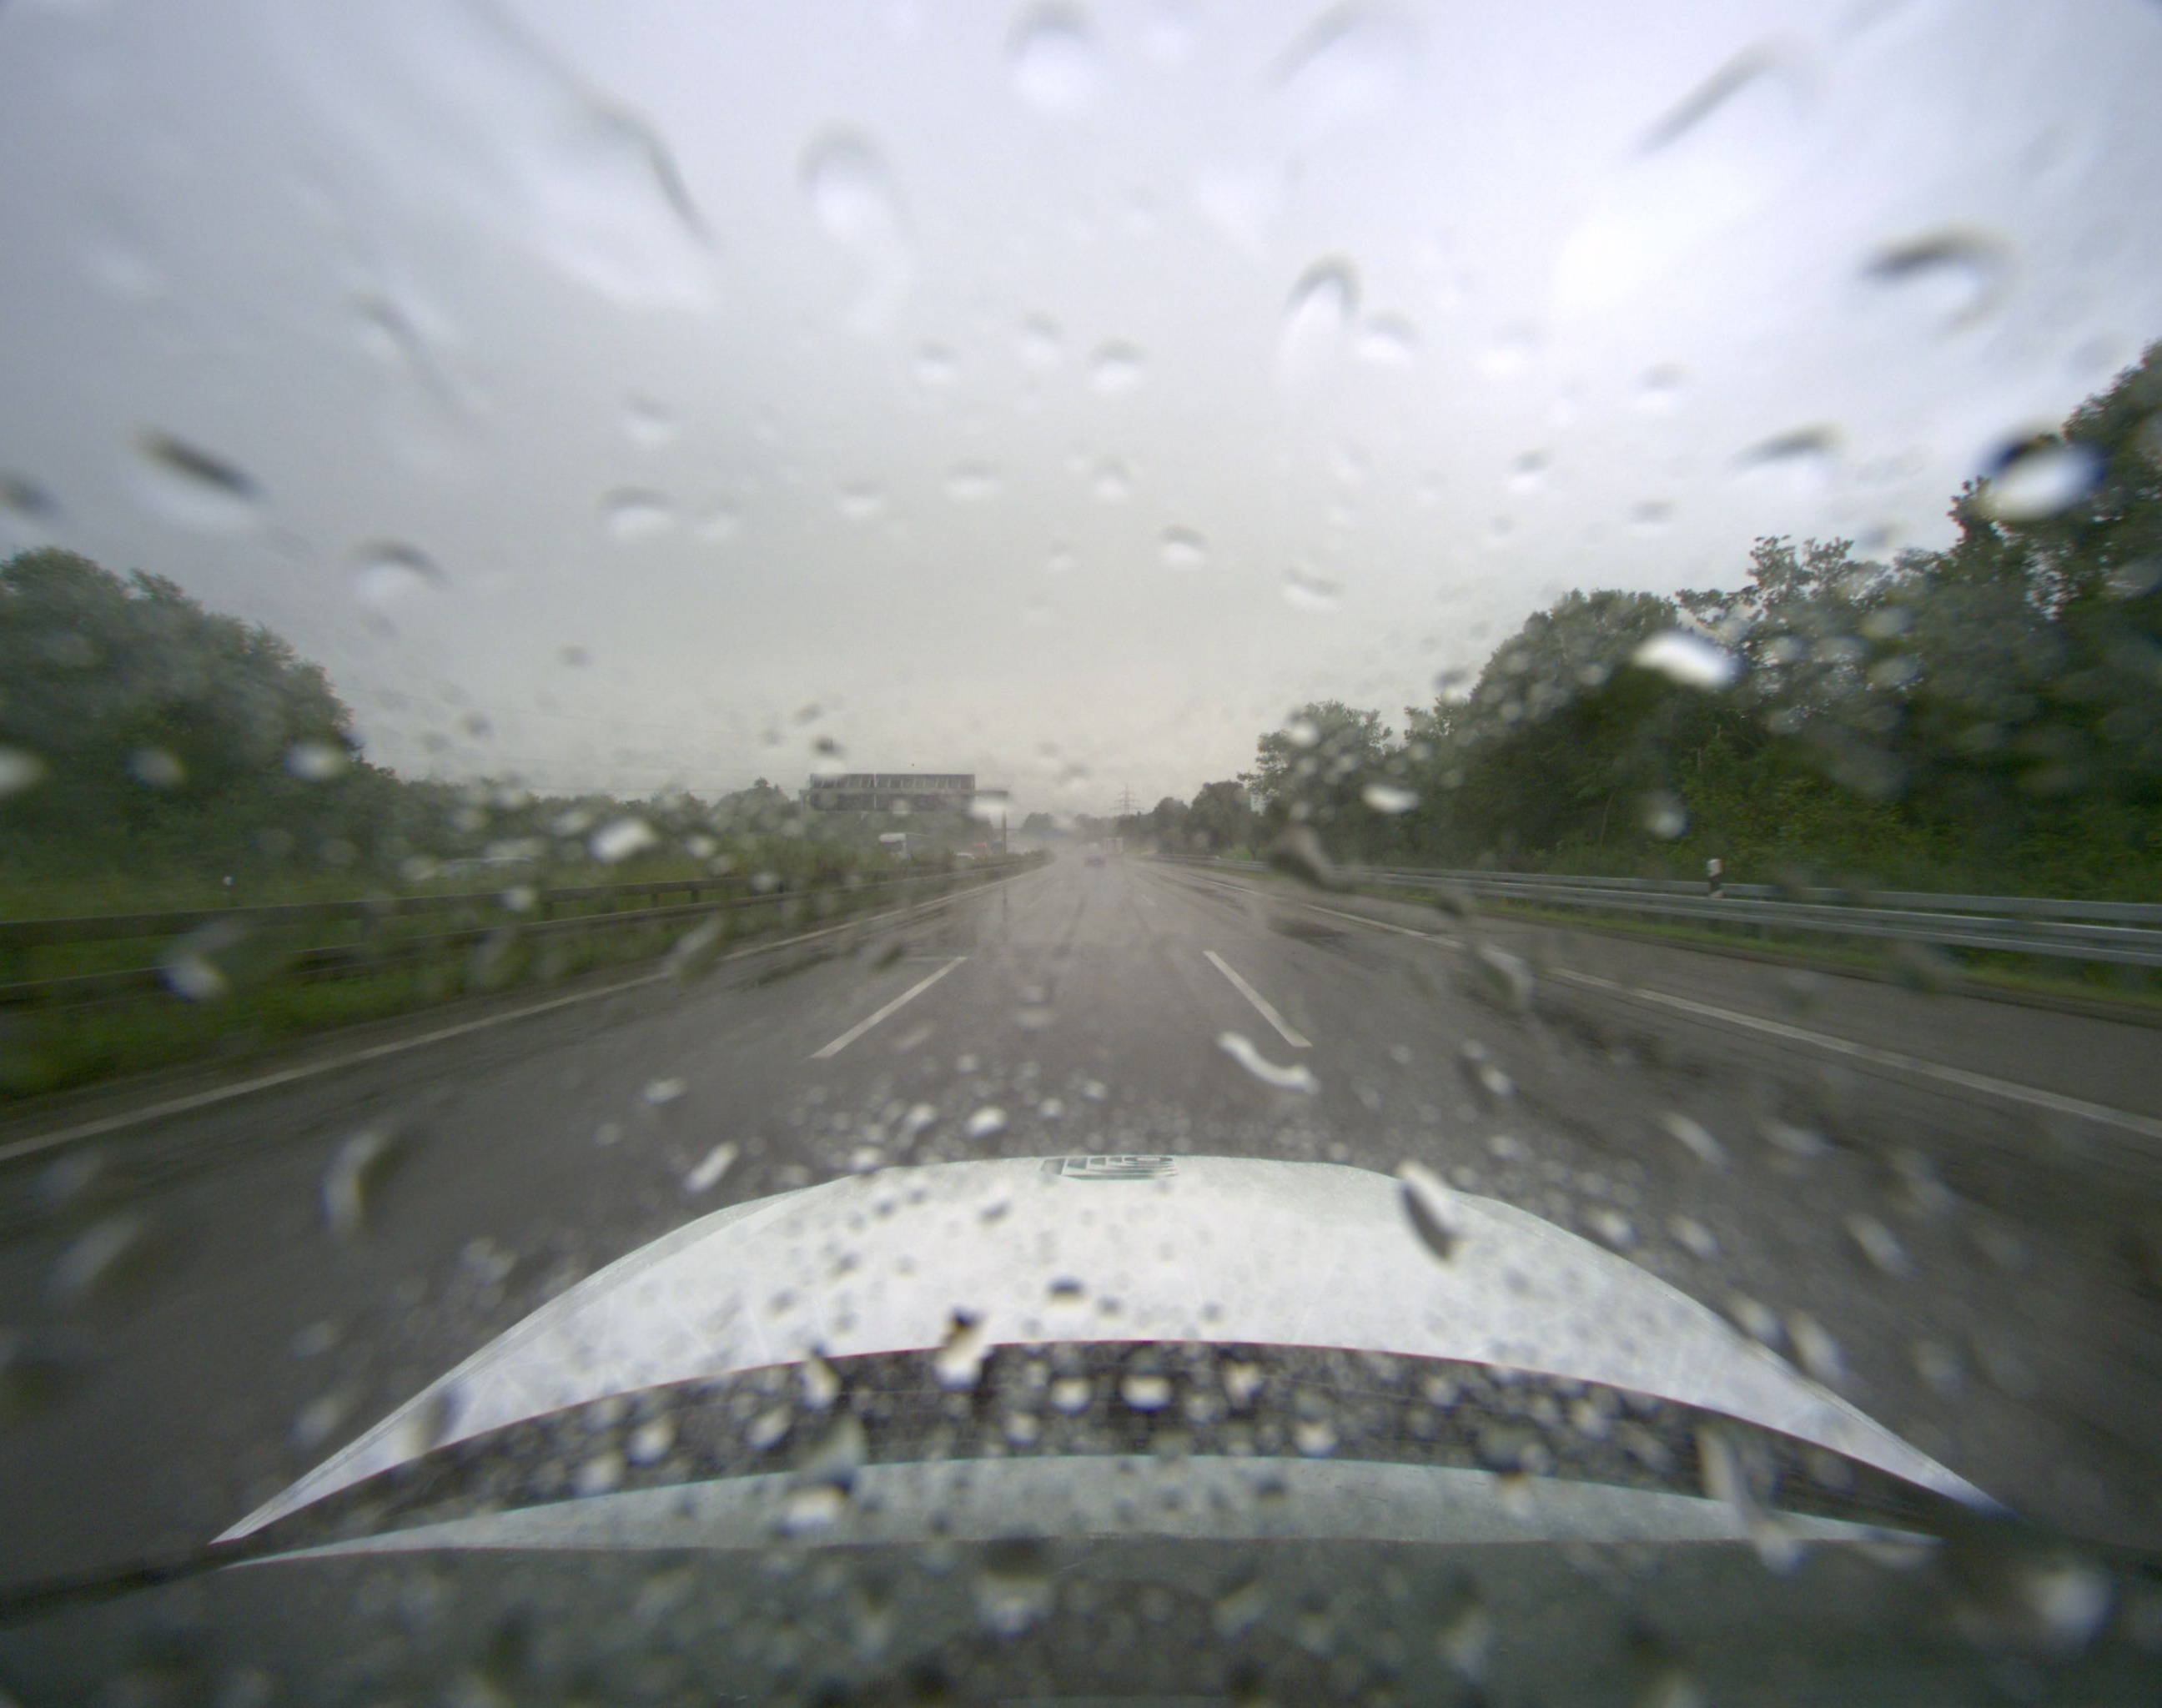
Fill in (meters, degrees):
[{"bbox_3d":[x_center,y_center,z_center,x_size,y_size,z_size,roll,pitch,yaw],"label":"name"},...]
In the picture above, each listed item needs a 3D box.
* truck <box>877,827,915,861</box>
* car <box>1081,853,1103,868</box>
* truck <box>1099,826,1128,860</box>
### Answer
[{"bbox_3d":[-19.182,-1.005,84.861,2.658,3.416,5.527,0,0,0],"label":"truck"},{"bbox_3d":[0.957,0.572,70.296,1.741,1.212,4.003,2,0,3],"label":"car"},{"bbox_3d":[5.241,-1.776,132.299,4.240,4.971,17.350,-2,1,2],"label":"truck"}]
